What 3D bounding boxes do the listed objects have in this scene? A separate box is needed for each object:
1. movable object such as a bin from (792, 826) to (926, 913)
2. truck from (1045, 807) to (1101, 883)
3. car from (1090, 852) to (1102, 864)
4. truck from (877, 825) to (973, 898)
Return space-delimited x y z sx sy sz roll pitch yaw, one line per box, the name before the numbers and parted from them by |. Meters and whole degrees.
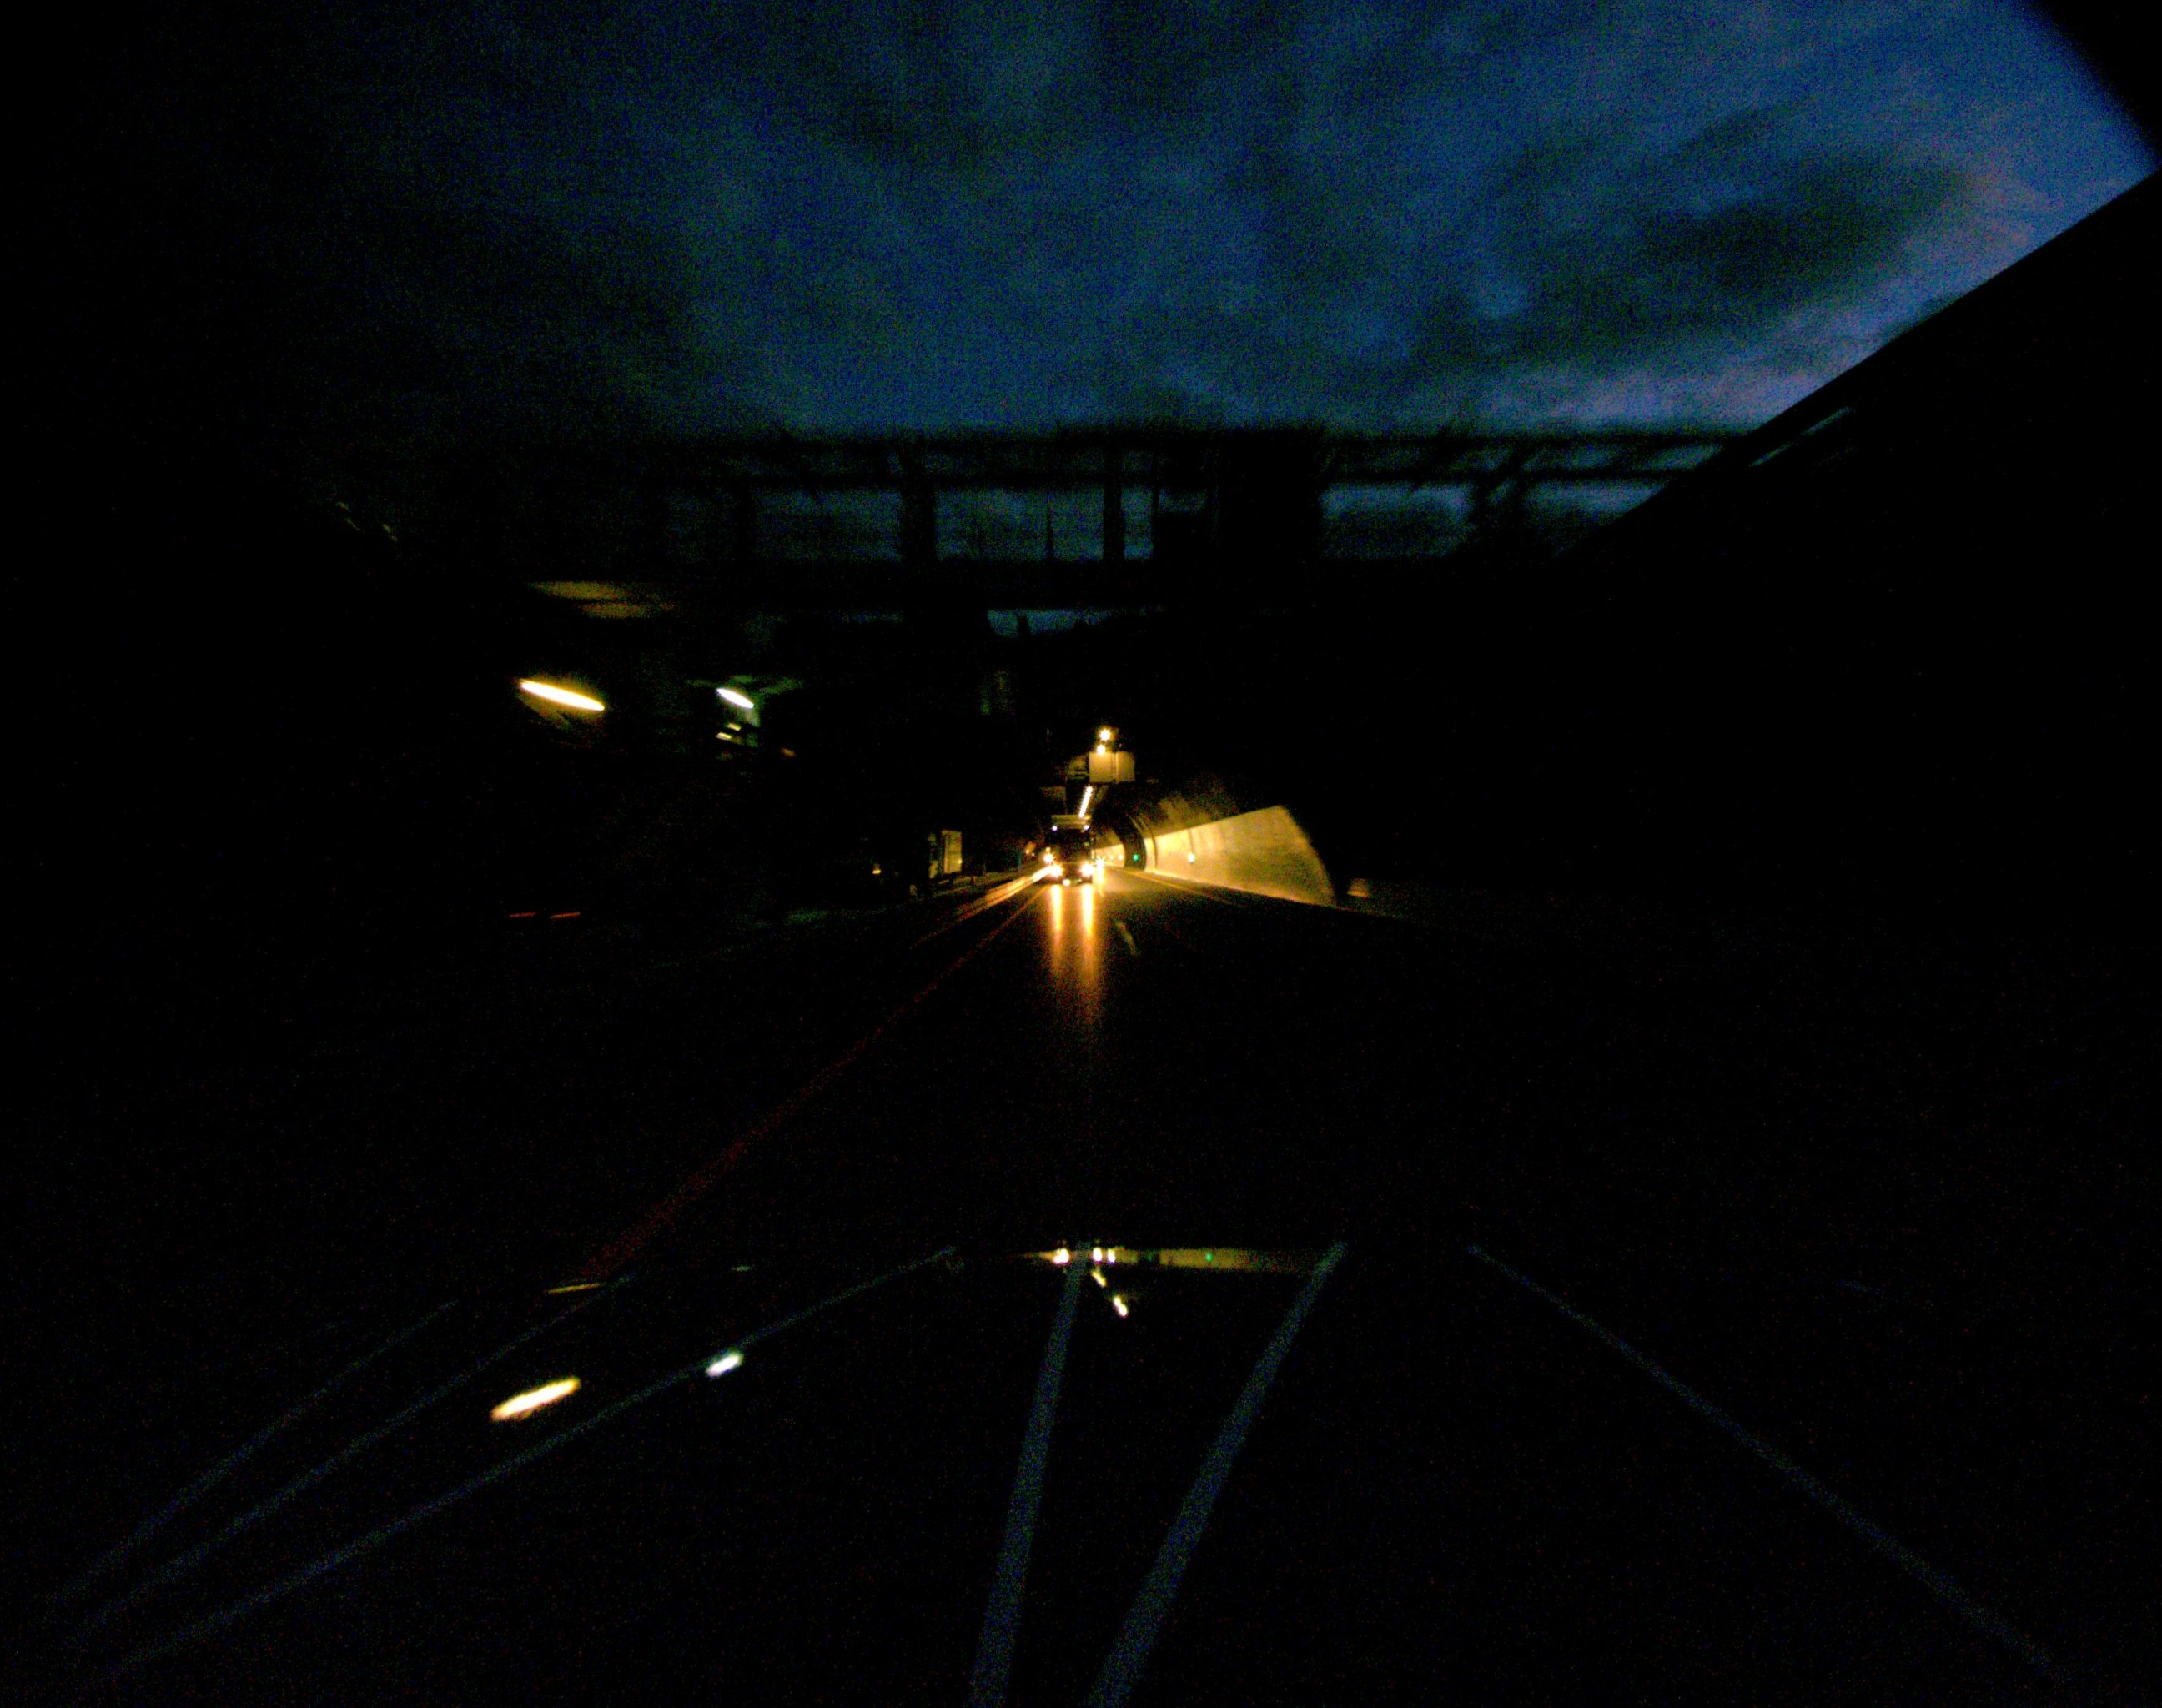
movable object such as a bin | -8.263 0.487 29.393 2.977 2.811 7.195 -2 1 0
truck | -0.326 -0.558 49.278 2.953 4.241 11.053 -2 1 2
car | 2.104 0.503 105.489 1.662 1.586 3.996 -2 1 2
truck | -7.837 0.288 39.481 2.824 3.267 8.353 -2 1 2
